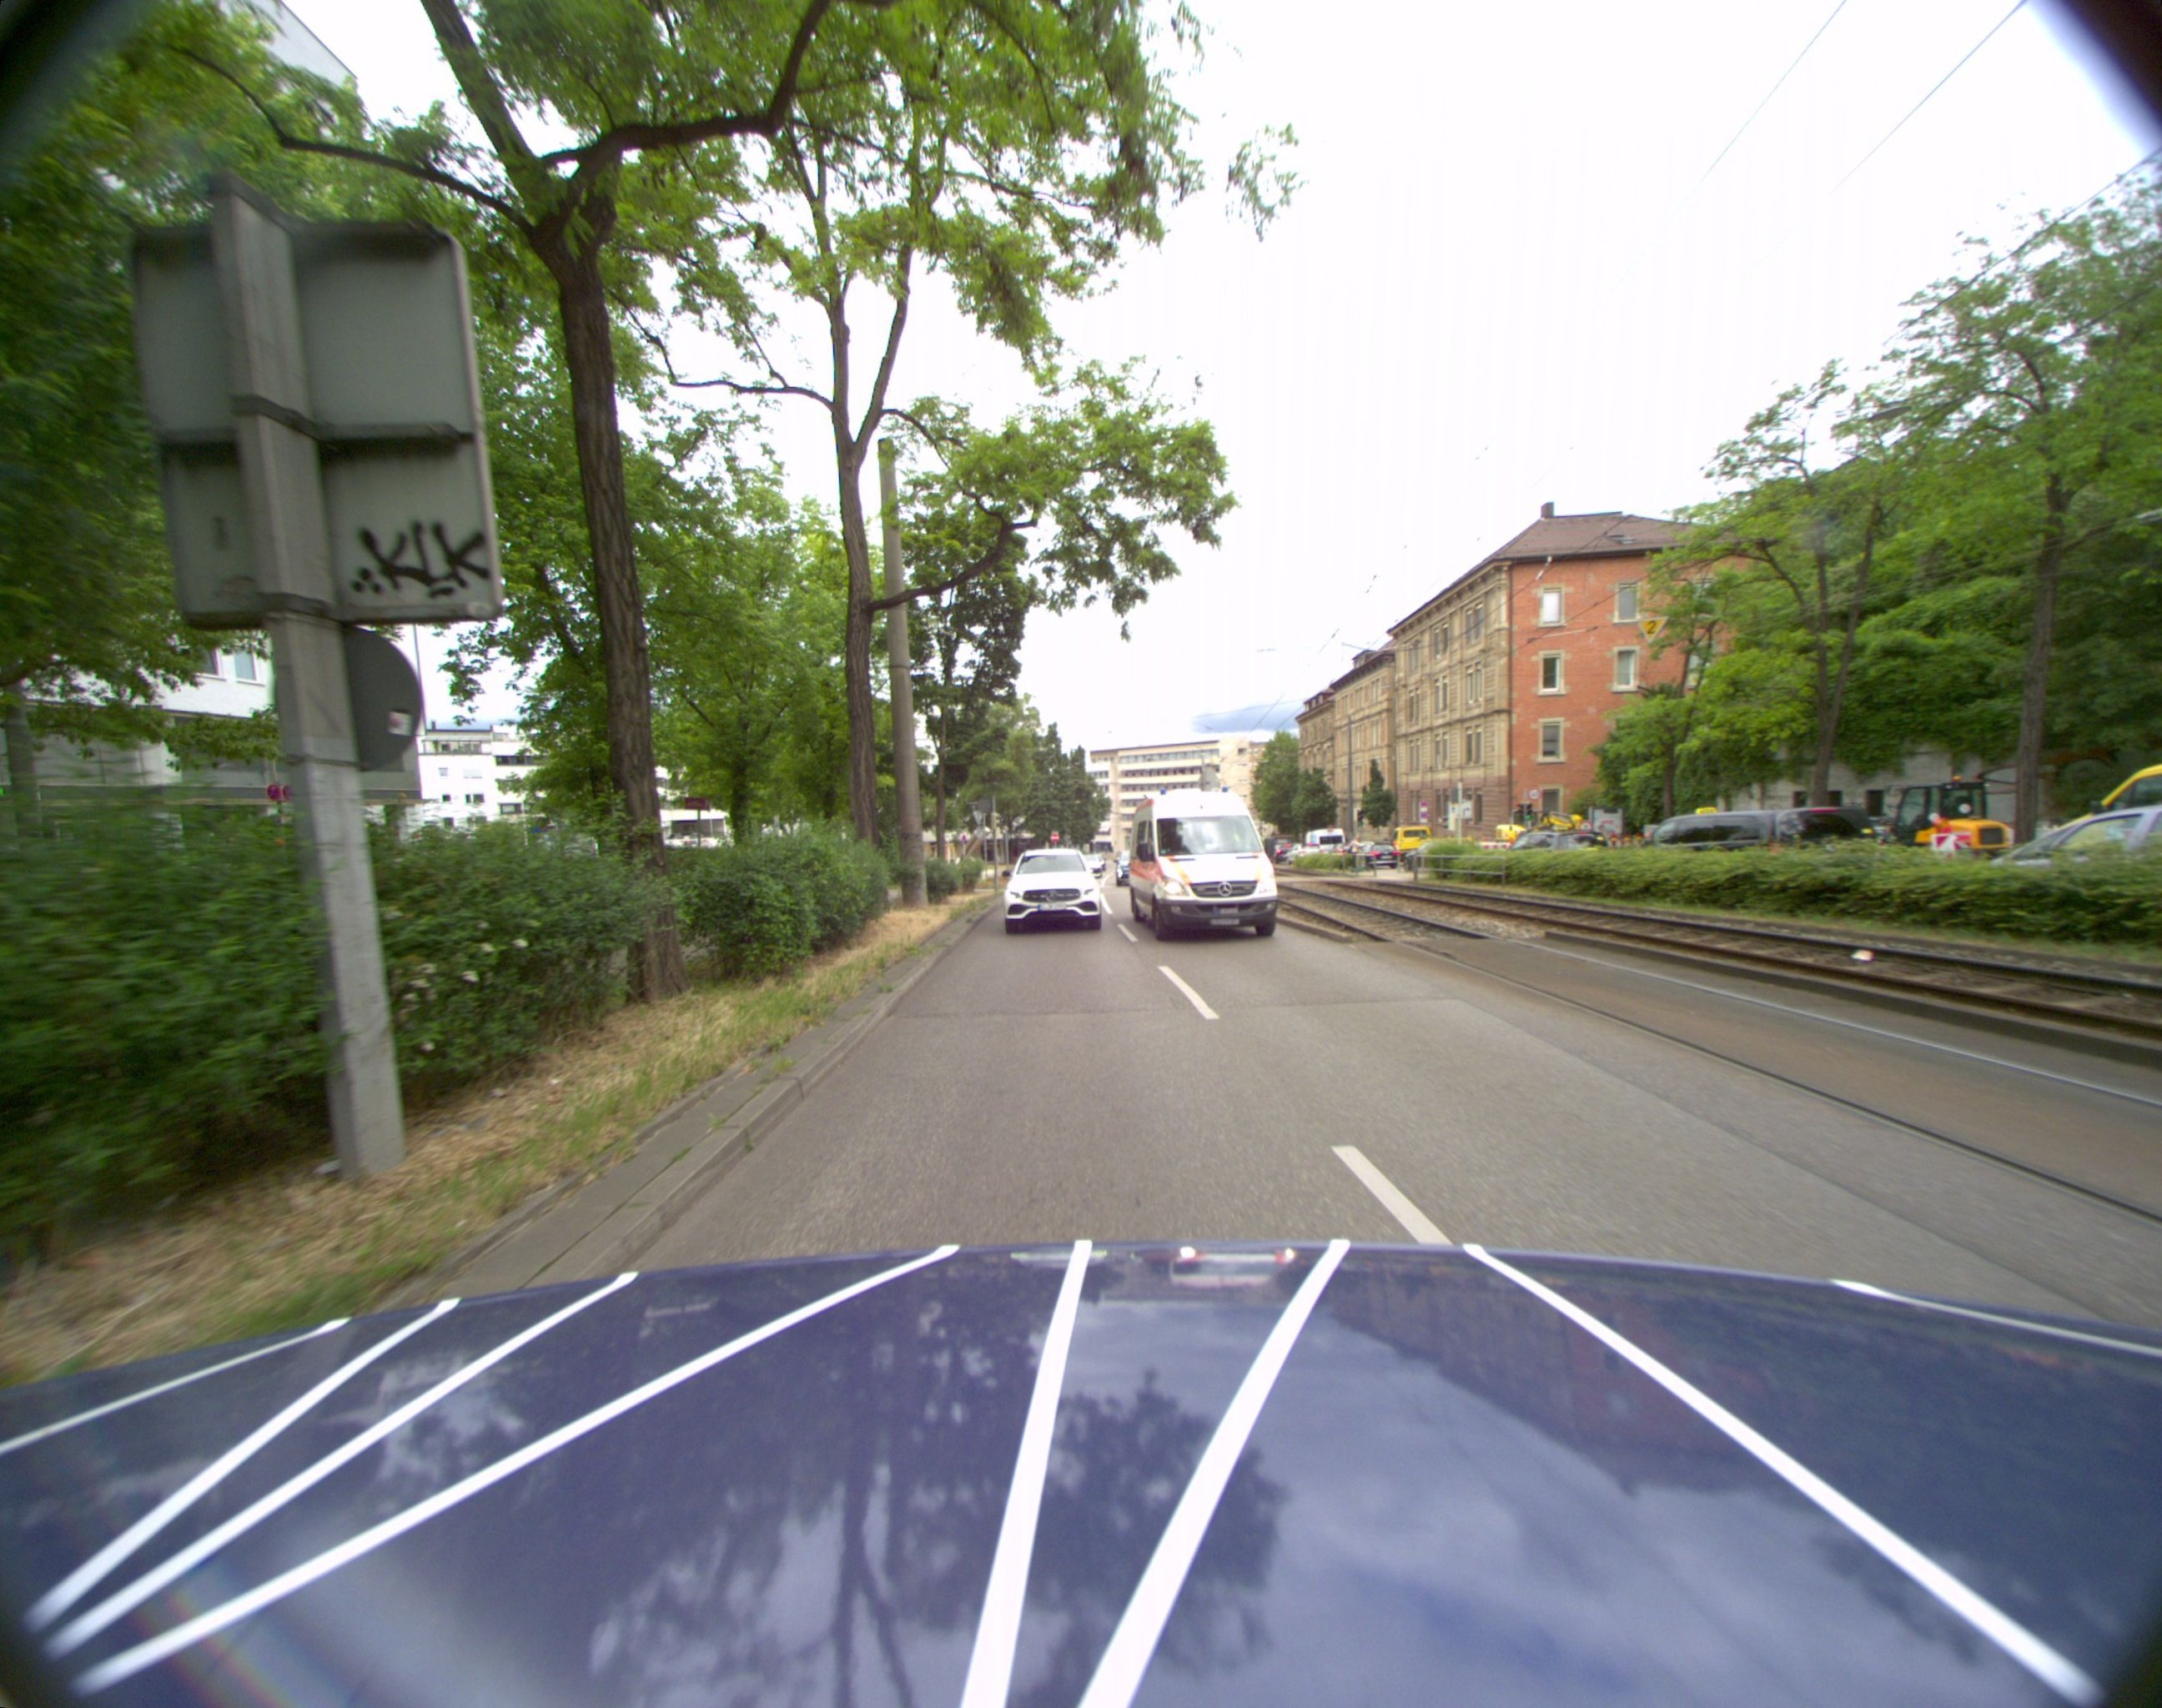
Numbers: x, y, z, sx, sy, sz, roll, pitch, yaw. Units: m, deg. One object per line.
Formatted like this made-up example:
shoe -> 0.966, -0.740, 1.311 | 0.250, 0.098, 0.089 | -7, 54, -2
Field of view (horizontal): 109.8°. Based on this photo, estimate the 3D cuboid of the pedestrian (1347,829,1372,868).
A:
pedestrian -> 13.070, -0.277, 35.661 | 0.742, 1.807, 0.792 | 0, 1, -18

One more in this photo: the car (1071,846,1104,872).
car -> 0.370, 0.280, 44.988 | 1.822, 1.441, 3.852 | -1, 1, 0

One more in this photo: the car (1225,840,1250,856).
car -> 17.333, -0.654, 84.301 | 1.998, 1.608, 4.000 | -2, 1, 3

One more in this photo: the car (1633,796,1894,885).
car -> 14.117, -0.266, 16.182 | 1.997, 1.596, 4.612 | -1, 1, 10

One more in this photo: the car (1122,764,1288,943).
car -> 2.069, -0.026, 14.602 | 2.039, 2.684, 5.853 | -2, 1, -1

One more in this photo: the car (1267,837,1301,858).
car -> 15.690, -0.488, 58.823 | 1.870, 1.510, 3.951 | -1, 1, 6

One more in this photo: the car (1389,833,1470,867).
car -> 15.918, -0.218, 34.988 | 1.885, 1.427, 4.845 | 1, 1, 5

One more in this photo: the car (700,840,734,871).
car -> -27.467, 0.109, 57.421 | 2.130, 2.200, 4.883 | -2, 1, -24

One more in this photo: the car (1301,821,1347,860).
car -> 18.304, -1.008, 57.463 | 2.214, 2.806, 4.785 | -1, 1, 3

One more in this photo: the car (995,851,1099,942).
car -> -0.578, 0.795, 16.530 | 1.894, 1.610, 4.478 | -2, 1, 1

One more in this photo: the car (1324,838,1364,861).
car -> 18.047, -0.292, 52.256 | 1.648, 1.445, 3.565 | -2, 0, 3

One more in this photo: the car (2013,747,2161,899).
car -> 19.292, -0.526, 11.929 | 2.161, 2.579, 6.339 | -1, 1, 8

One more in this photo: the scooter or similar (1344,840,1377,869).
scooter or similar -> 12.973, 0.027, 35.312 | 1.500, 1.288, 0.532 | -2, 1, -26

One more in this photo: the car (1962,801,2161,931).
car -> 12.830, 0.114, 8.674 | 1.662, 1.435, 3.742 | -1, 1, 11

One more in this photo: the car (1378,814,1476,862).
car -> 19.251, -0.895, 42.754 | 2.446, 2.422, 6.753 | -2, 1, 0

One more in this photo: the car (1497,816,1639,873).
car -> 15.162, -0.289, 23.997 | 1.997, 1.596, 4.622 | -1, 1, 8

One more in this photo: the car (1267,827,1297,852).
car -> 19.353, -1.416, 73.327 | 2.241, 2.275, 4.001 | -1, 1, 6

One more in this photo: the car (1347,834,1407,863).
car -> 15.960, -0.299, 41.179 | 1.783, 1.453, 4.000 | -1, 1, 2

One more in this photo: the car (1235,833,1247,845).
car -> 25.196, -2.323, 119.710 | 1.699, 1.799, 4.003 | -2, 1, 10

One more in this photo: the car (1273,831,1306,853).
car -> 19.077, -1.101, 69.671 | 2.319, 1.928, 3.437 | -1, 1, 6

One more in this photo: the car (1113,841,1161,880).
car -> 2.478, 0.255, 34.272 | 1.930, 1.563, 4.181 | -3, 0, 3

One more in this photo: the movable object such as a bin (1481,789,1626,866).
movable object such as a bin -> 23.715, -1.263, 38.573 | 2.755, 3.527, 6.544 | -1, 1, -6

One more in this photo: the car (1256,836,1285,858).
car -> 16.010, -0.609, 64.354 | 1.840, 1.740, 4.001 | -1, 1, 6

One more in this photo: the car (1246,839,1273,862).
car -> 16.541, -0.376, 70.596 | 1.997, 2.033, 4.001 | -1, 1, 6

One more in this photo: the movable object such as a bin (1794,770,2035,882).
movable object such as a bin -> 21.021, -0.660, 19.475 | 1.937, 2.453, 4.100 | -3, 0, 8

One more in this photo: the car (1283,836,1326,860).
car -> 15.358, -0.392, 52.474 | 1.707, 1.558, 3.999 | -1, 1, -1

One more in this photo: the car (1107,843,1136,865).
car -> 2.979, -0.007, 56.150 | 1.998, 1.543, 4.317 | -1, 1, 1
